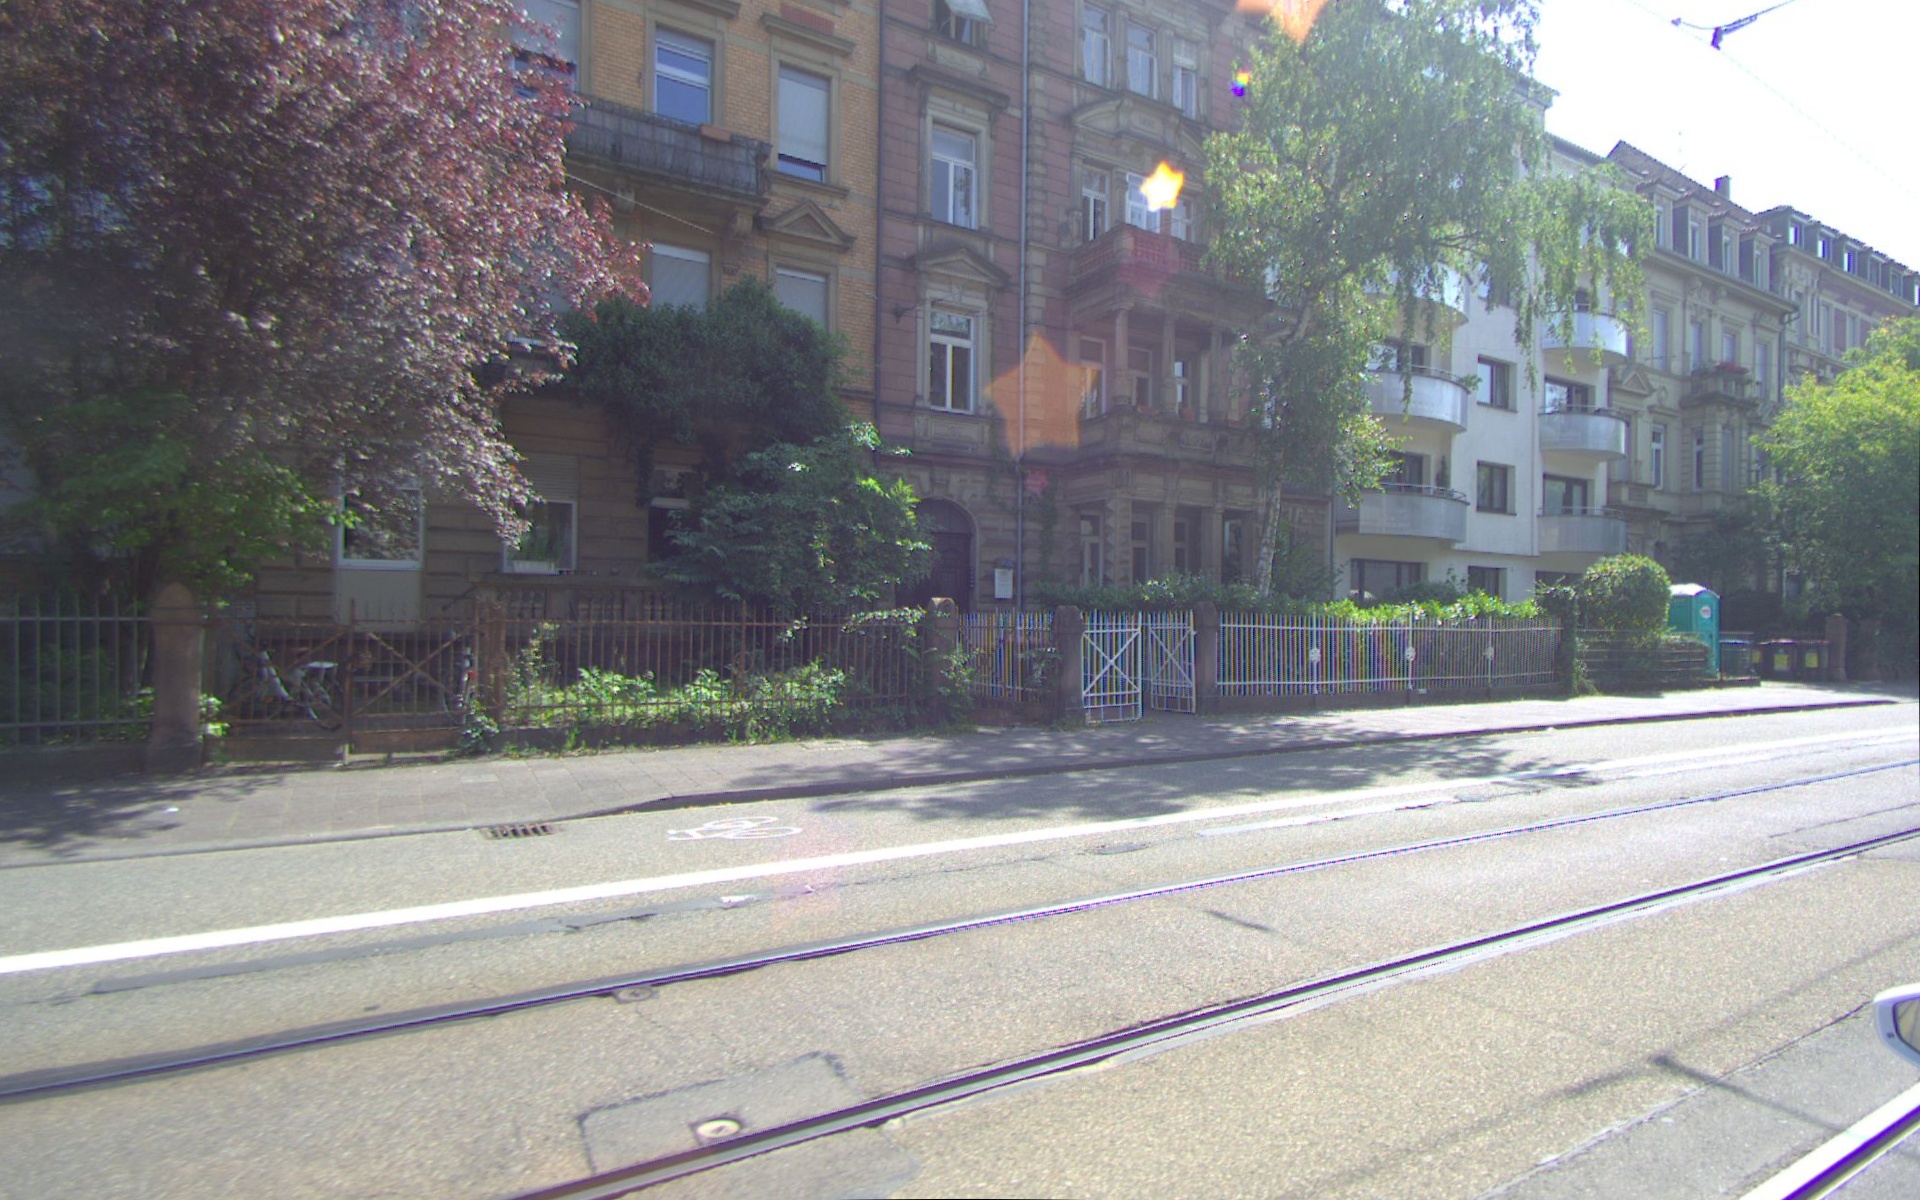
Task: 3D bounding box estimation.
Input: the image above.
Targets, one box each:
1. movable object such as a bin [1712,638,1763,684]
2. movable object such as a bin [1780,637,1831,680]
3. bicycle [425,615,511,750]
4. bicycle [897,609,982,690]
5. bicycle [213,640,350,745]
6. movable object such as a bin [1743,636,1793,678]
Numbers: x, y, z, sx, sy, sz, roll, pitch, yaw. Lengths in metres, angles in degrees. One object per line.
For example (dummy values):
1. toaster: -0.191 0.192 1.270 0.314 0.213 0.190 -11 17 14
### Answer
1. movable object such as a bin: 19.377 1.505 25.033 0.746 1.090 0.782 1 0 -32
2. movable object such as a bin: 22.407 1.550 26.630 0.793 1.090 0.783 1 0 -28
3. bicycle: -5.058 0.787 10.288 0.707 1.198 1.805 1 0 -28
4. bicycle: -0.391 0.839 17.763 0.708 1.309 1.804 1 0 -29
5. bicycle: -7.148 0.929 10.551 1.791 0.923 0.713 2 0 40
6. movable object such as a bin: 21.976 1.542 27.317 0.793 1.090 0.783 1 0 -28
